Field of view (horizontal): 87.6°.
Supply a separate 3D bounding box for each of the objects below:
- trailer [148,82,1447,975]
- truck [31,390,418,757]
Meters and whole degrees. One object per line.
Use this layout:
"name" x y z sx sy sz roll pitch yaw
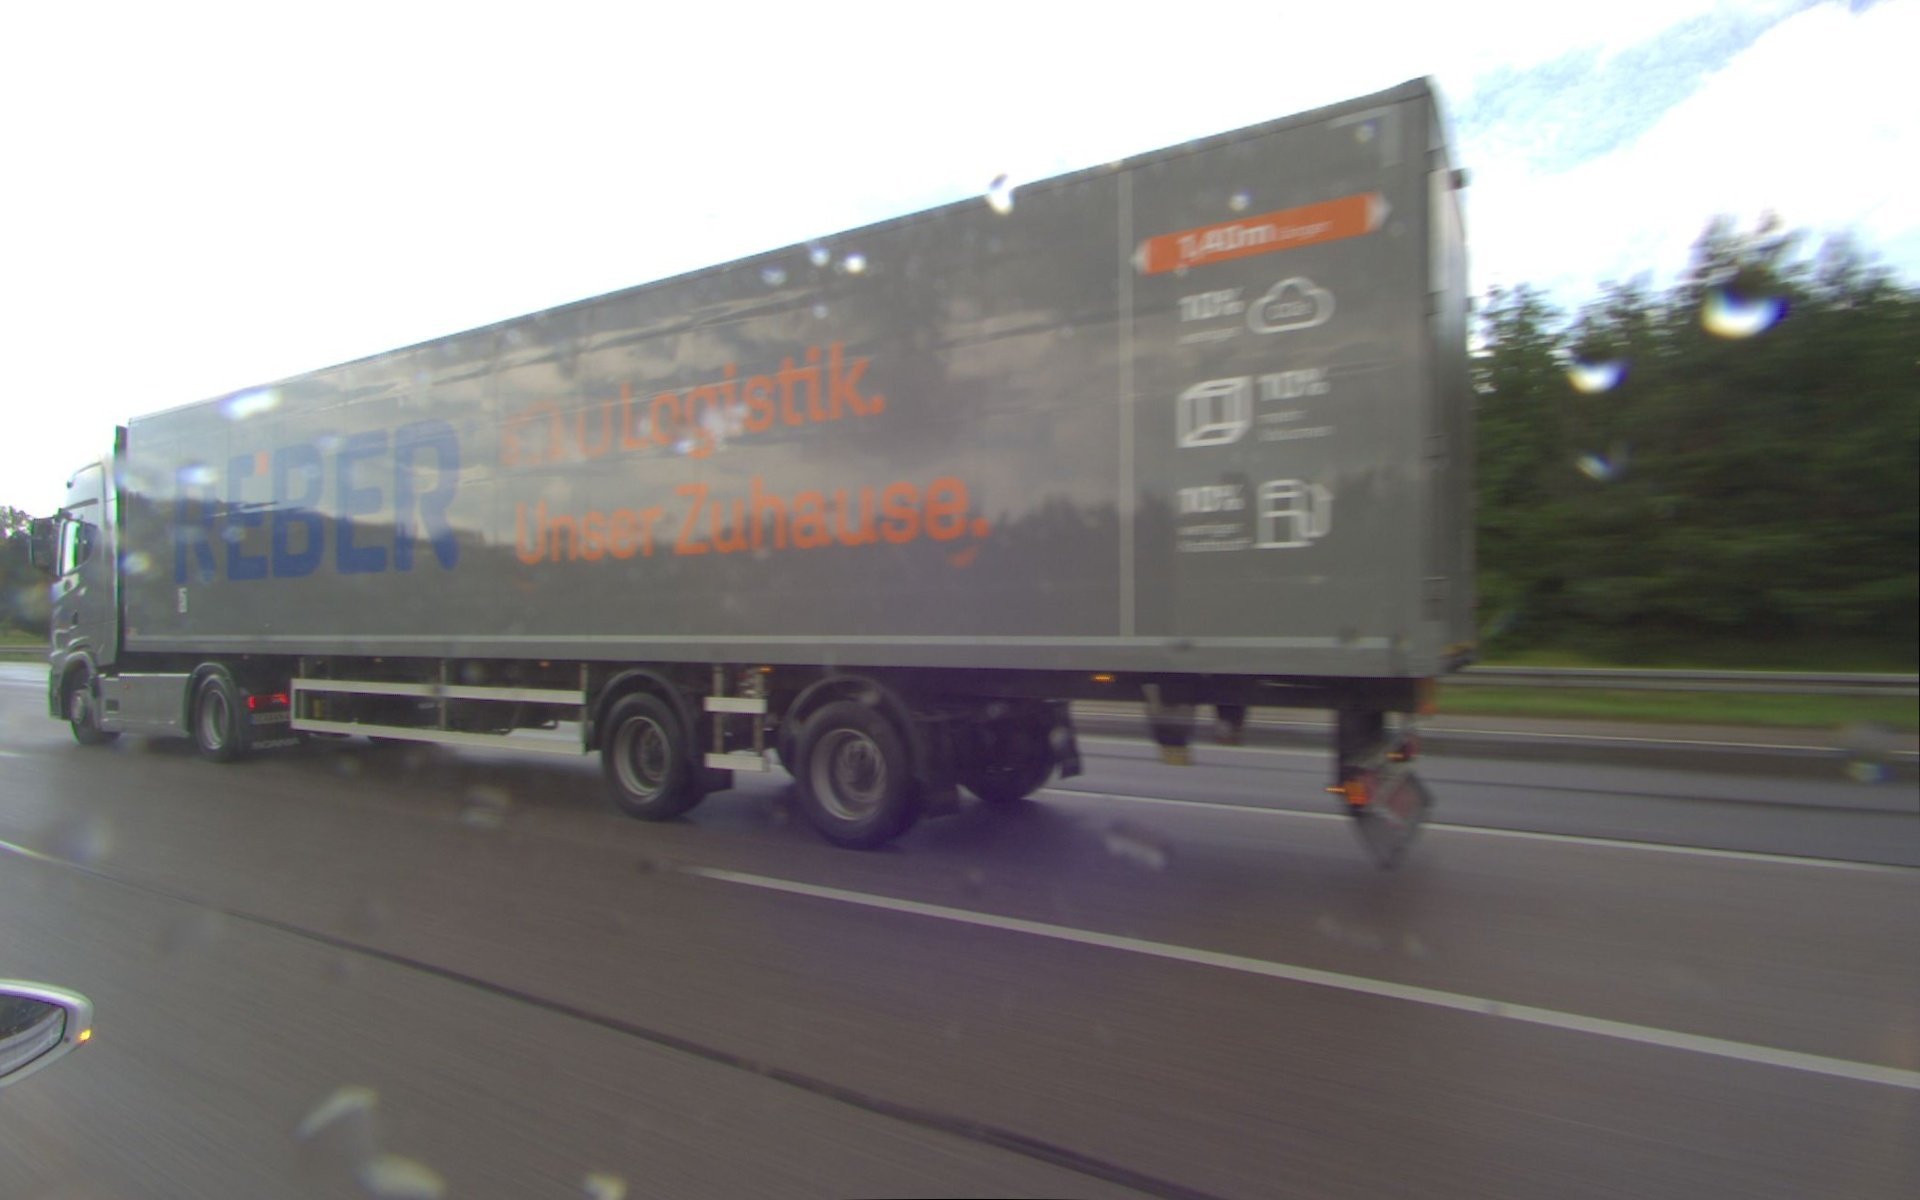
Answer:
"trailer" -3.043 -0.241 8.990 13.216 4.053 2.320 -1 -1 31
"truck" -9.707 -0.236 13.098 5.314 3.918 2.290 0 -1 32
